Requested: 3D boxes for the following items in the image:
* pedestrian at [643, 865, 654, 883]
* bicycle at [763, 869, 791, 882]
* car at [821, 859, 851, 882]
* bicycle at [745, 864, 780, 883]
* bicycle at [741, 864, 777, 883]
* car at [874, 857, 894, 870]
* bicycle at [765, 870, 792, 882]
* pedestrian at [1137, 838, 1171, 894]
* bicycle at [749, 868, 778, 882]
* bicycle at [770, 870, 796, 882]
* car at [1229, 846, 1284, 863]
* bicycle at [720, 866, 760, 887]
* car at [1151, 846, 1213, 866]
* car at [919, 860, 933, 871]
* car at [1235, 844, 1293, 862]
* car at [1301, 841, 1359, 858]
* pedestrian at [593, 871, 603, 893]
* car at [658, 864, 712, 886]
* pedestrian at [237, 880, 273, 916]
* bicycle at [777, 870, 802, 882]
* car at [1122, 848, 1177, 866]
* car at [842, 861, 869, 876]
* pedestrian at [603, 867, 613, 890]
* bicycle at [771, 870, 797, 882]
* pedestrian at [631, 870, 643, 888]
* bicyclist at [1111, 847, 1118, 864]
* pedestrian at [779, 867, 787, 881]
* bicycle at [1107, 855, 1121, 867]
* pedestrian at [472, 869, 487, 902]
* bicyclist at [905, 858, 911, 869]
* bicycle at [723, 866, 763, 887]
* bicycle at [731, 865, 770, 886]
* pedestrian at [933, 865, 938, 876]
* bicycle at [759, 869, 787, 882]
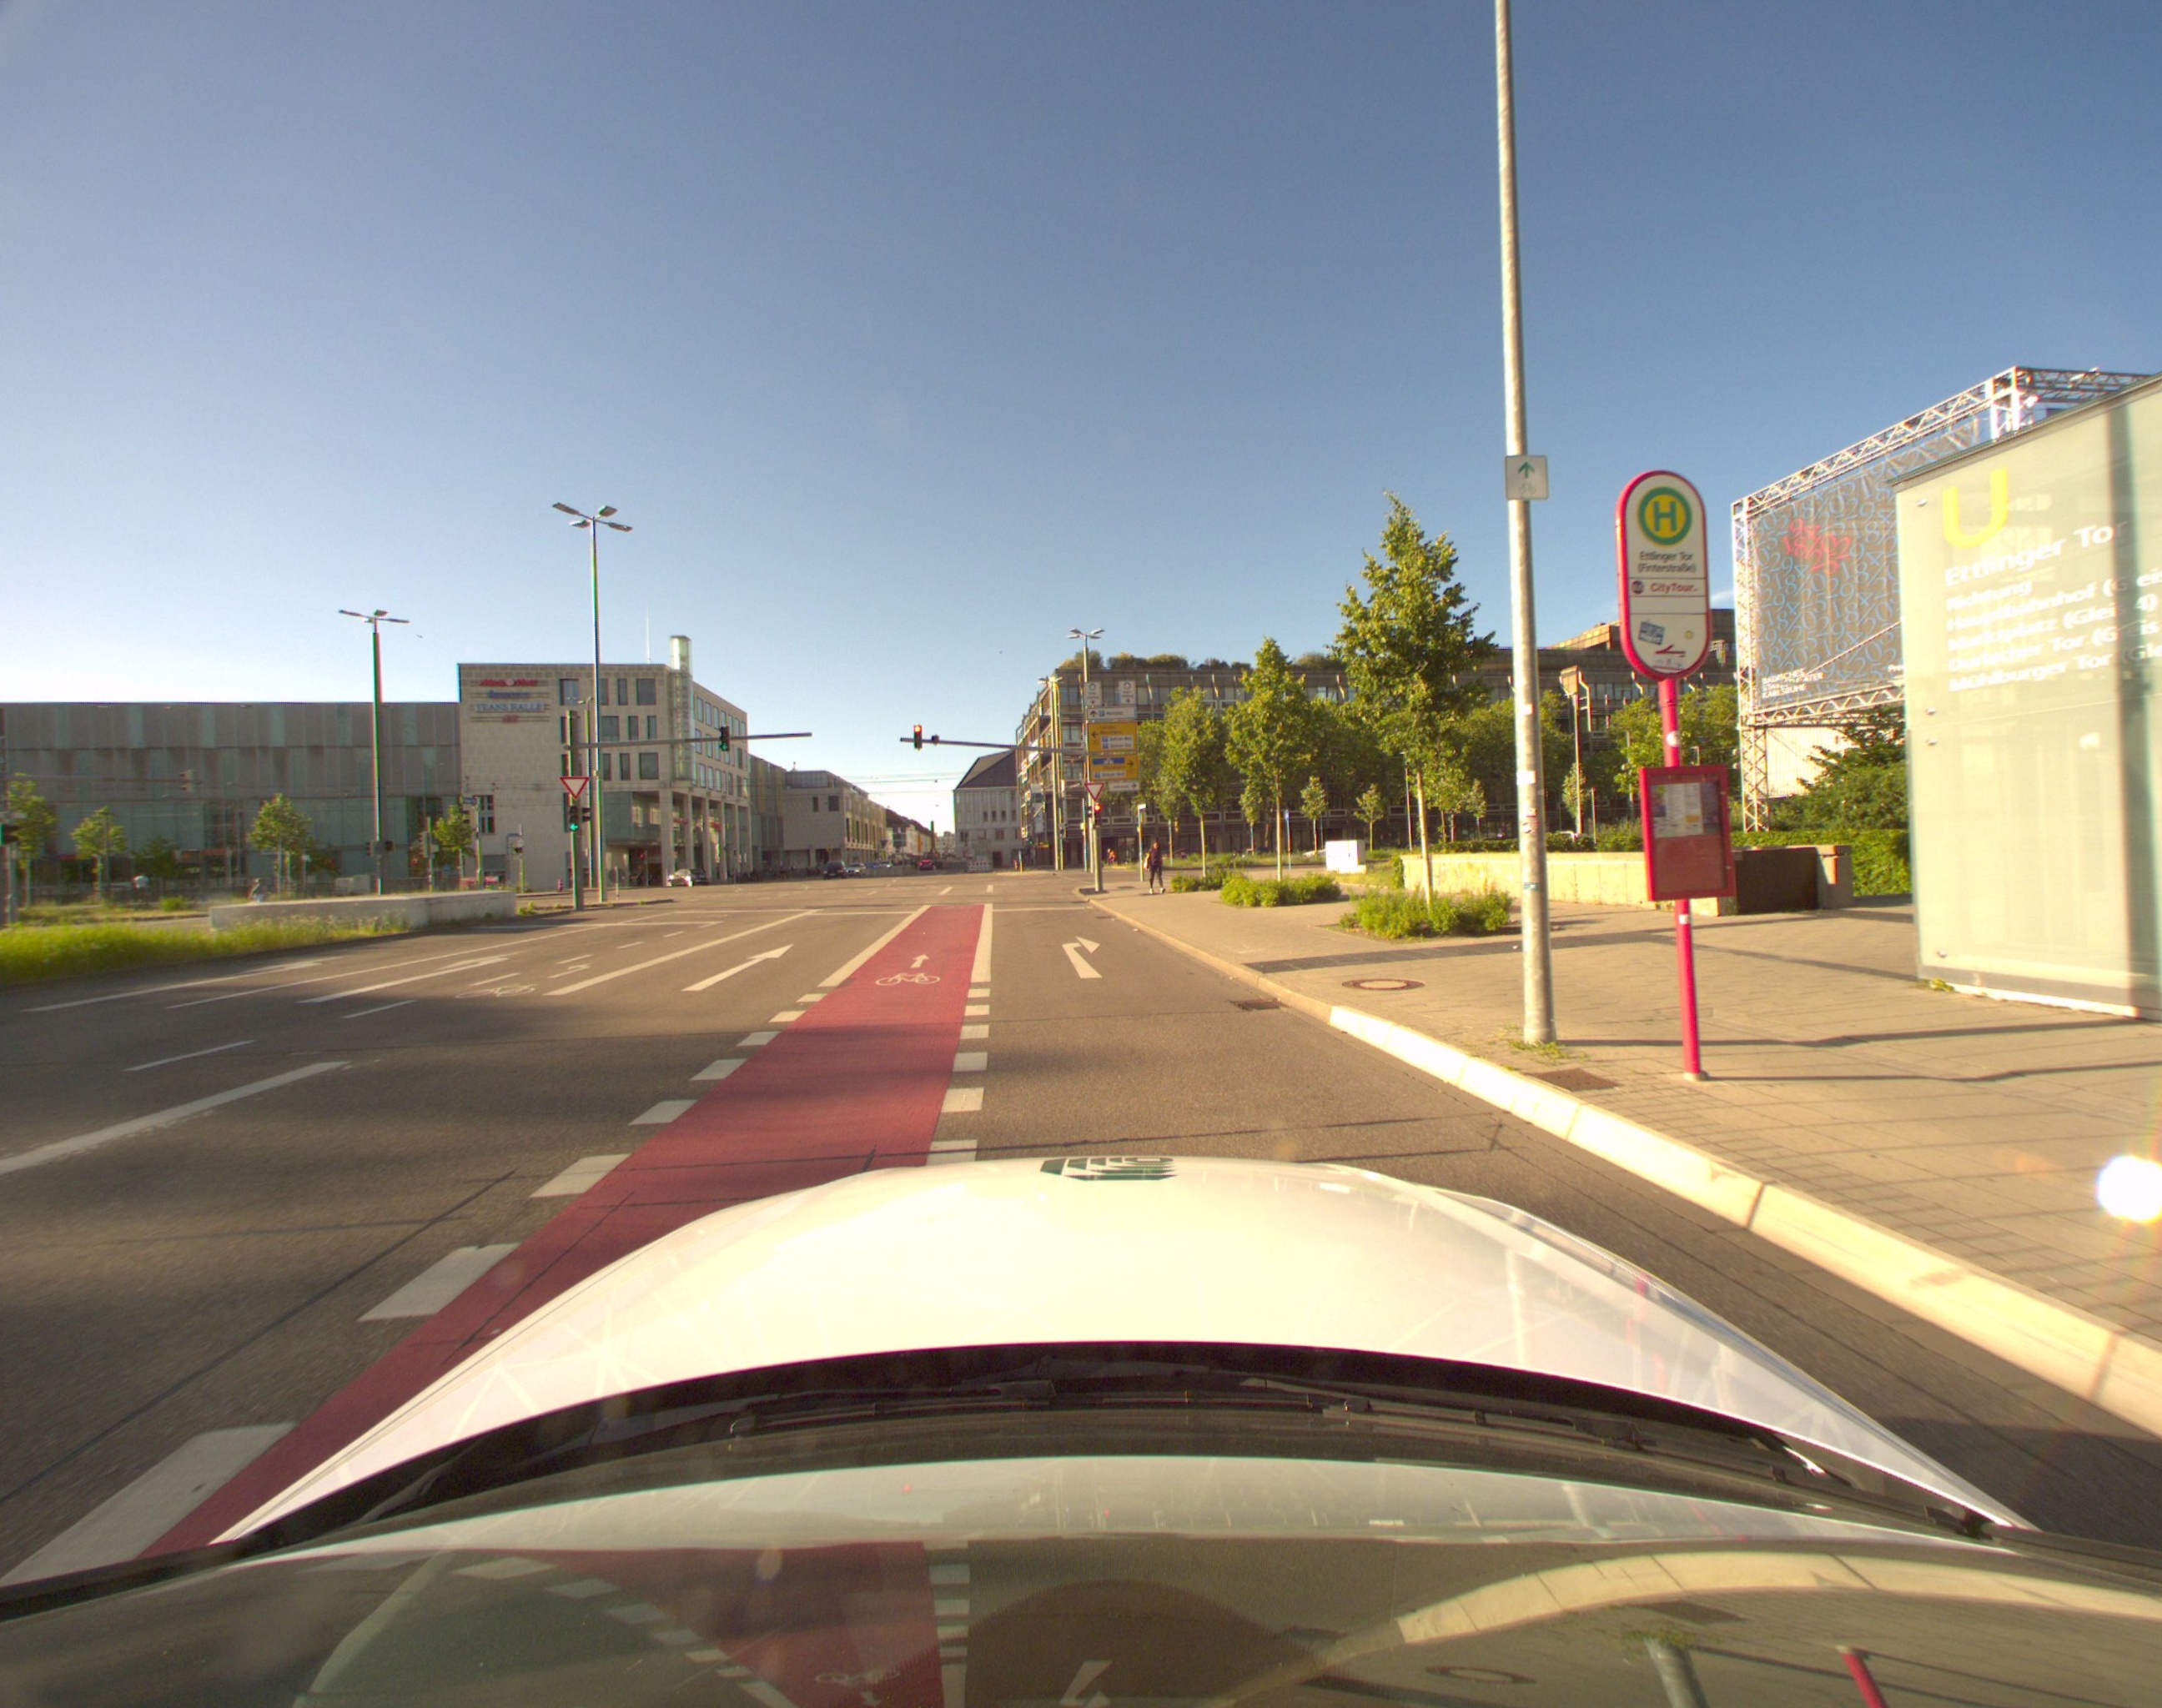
[{"bbox_3d":[-39.252,1.780,73.881,0.622,1.608,0.652,-2,0,-7],"label":"pedestrian"},{"bbox_3d":[-38.377,2.715,102.868,3.051,1.400,0.899,-3,0,-10],"label":"bicycle"},{"bbox_3d":[-22.301,1.466,74.230,1.994,1.742,4.630,-2,2,-10],"label":"car"},{"bbox_3d":[-37.416,2.265,95.657,3.621,2.013,0.899,-3,0,-10],"label":"bicycle"},{"bbox_3d":[-37.106,2.242,93.841,3.621,2.013,0.899,-3,0,-10],"label":"bicycle"},{"bbox_3d":[-26.368,1.250,109.083,1.991,1.623,4.230,-3,0,-5],"label":"car"},{"bbox_3d":[-38.680,2.771,104.254,3.051,1.400,0.899,-3,0,-10],"label":"bicycle"},{"bbox_3d":[2.375,0.393,26.516,0.815,1.748,1.046,-3,0,16],"label":"pedestrian"},{"bbox_3d":[-37.653,2.483,96.611,3.051,1.400,0.899,-3,0,-10],"label":"bicycle"},{"bbox_3d":[-39.127,2.856,106.916,3.051,1.400,0.899,-3,0,-10],"label":"bicycle"},{"bbox_3d":[16.463,-0.004,76.343,4.630,1.356,1.994,-2,2,-10],"label":"car"},{"bbox_3d":[-35.610,2.346,84.985,3.625,2.013,1.081,-3,0,-14],"label":"bicycle"},{"bbox_3d":[8.221,0.133,66.498,4.630,1.356,1.994,-2,2,-10],"label":"car"},{"bbox_3d":[-23.972,1.692,125.722,1.995,1.552,3.984,-2,0,-12],"label":"car"},{"bbox_3d":[16.281,-0.084,72.685,4.630,1.356,1.994,-2,2,-10],"label":"car"},{"bbox_3d":[22.455,-0.403,73.582,4.630,1.356,1.994,-2,2,-10],"label":"car"},{"bbox_3d":[-43.650,2.530,73.591,0.624,2.013,0.513,-2,0,-14],"label":"pedestrian"},{"bbox_3d":[-31.912,1.702,65.678,3.745,1.564,1.791,-2,0,20],"label":"car"},{"bbox_3d":[-35.778,1.904,35.287,0.723,1.502,0.799,-2,0,-15],"label":"pedestrian"},{"bbox_3d":[-39.697,2.985,111.003,3.051,1.400,0.899,-3,0,-10],"label":"bicycle"},{"bbox_3d":[6.179,0.246,73.950,4.630,1.356,1.994,-2,2,-10],"label":"car"},{"bbox_3d":[-24.424,1.546,88.451,1.991,1.356,4.638,-2,2,-5],"label":"car"},{"bbox_3d":[-43.423,2.250,74.748,0.624,2.013,0.513,-2,0,-14],"label":"pedestrian"},{"bbox_3d":[-39.363,2.896,107.992,3.051,1.400,0.899,-3,0,-10],"label":"bicycle"},{"bbox_3d":[-40.231,2.271,73.793,0.622,1.608,0.652,-2,0,-7],"label":"pedestrian"},{"bbox_3d":[2.743,0.138,66.898,0.507,1.338,0.452,-2,0,-3],"label":"bicyclist"},{"bbox_3d":[-35.387,2.344,96.822,0.747,1.608,0.618,-2,0,-33],"label":"pedestrian"},{"bbox_3d":[2.708,0.577,66.890,1.074,0.971,0.457,-2,0,-4],"label":"bicycle"},{"bbox_3d":[-37.328,1.957,50.518,0.516,2.013,0.621,-2,0,-19],"label":"pedestrian"},{"bbox_3d":[-24.977,1.373,117.737,0.746,1.460,0.764,-2,0,-8],"label":"bicyclist"},{"bbox_3d":[-35.781,2.339,86.310,3.621,2.013,1.083,-3,0,-10],"label":"bicycle"},{"bbox_3d":[-35.630,2.331,87.791,3.621,2.013,1.083,-3,0,-10],"label":"bicycle"},{"bbox_3d":[-22.720,2.620,126.892,0.714,1.668,0.984,-2,0,-11],"label":"pedestrian"},{"bbox_3d":[-38.207,2.666,100.993,3.051,1.400,0.899,-3,0,-10],"label":"bicycle"}]
